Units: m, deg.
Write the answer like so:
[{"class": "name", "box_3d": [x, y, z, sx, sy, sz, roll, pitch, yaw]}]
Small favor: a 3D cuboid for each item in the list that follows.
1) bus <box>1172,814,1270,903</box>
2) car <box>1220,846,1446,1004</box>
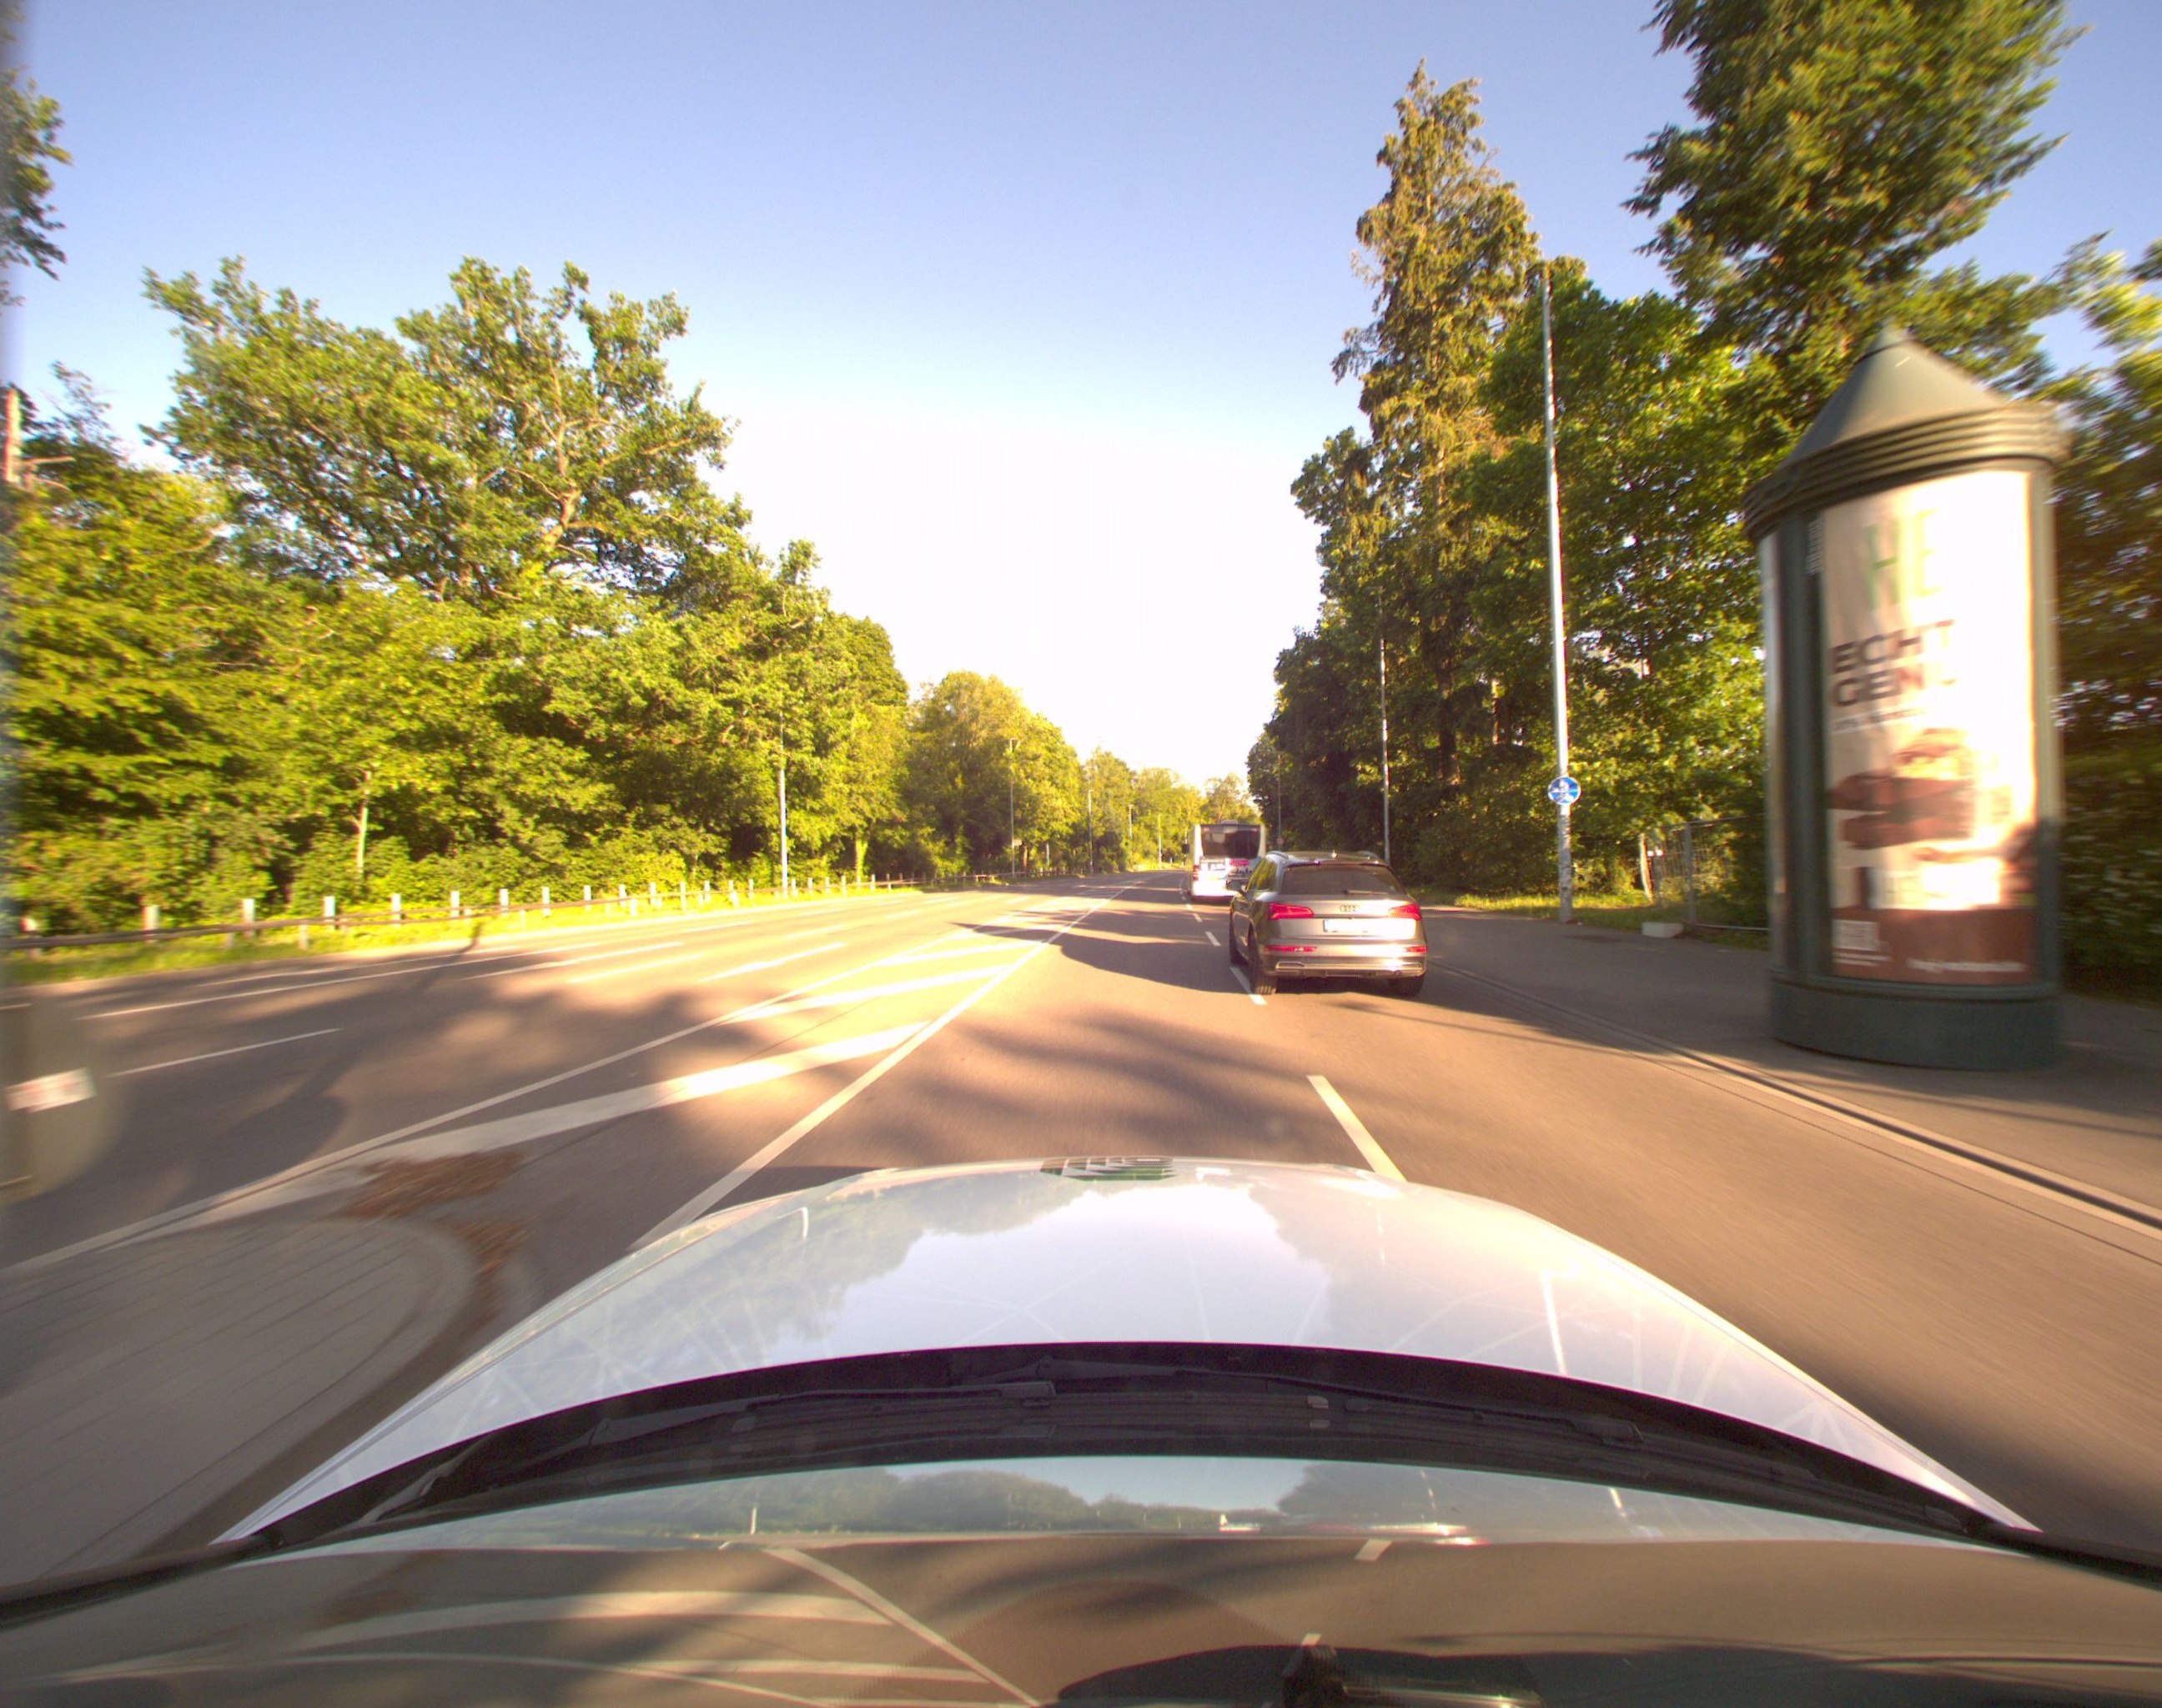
[{"class": "bus", "box_3d": [5.464, 0.215, 33.880, 2.678, 3.043, 12.050, 0, -1, 3]}, {"class": "car", "box_3d": [2.978, 0.733, 10.659, 1.884, 1.605, 4.550, 0, 0, 5]}]
